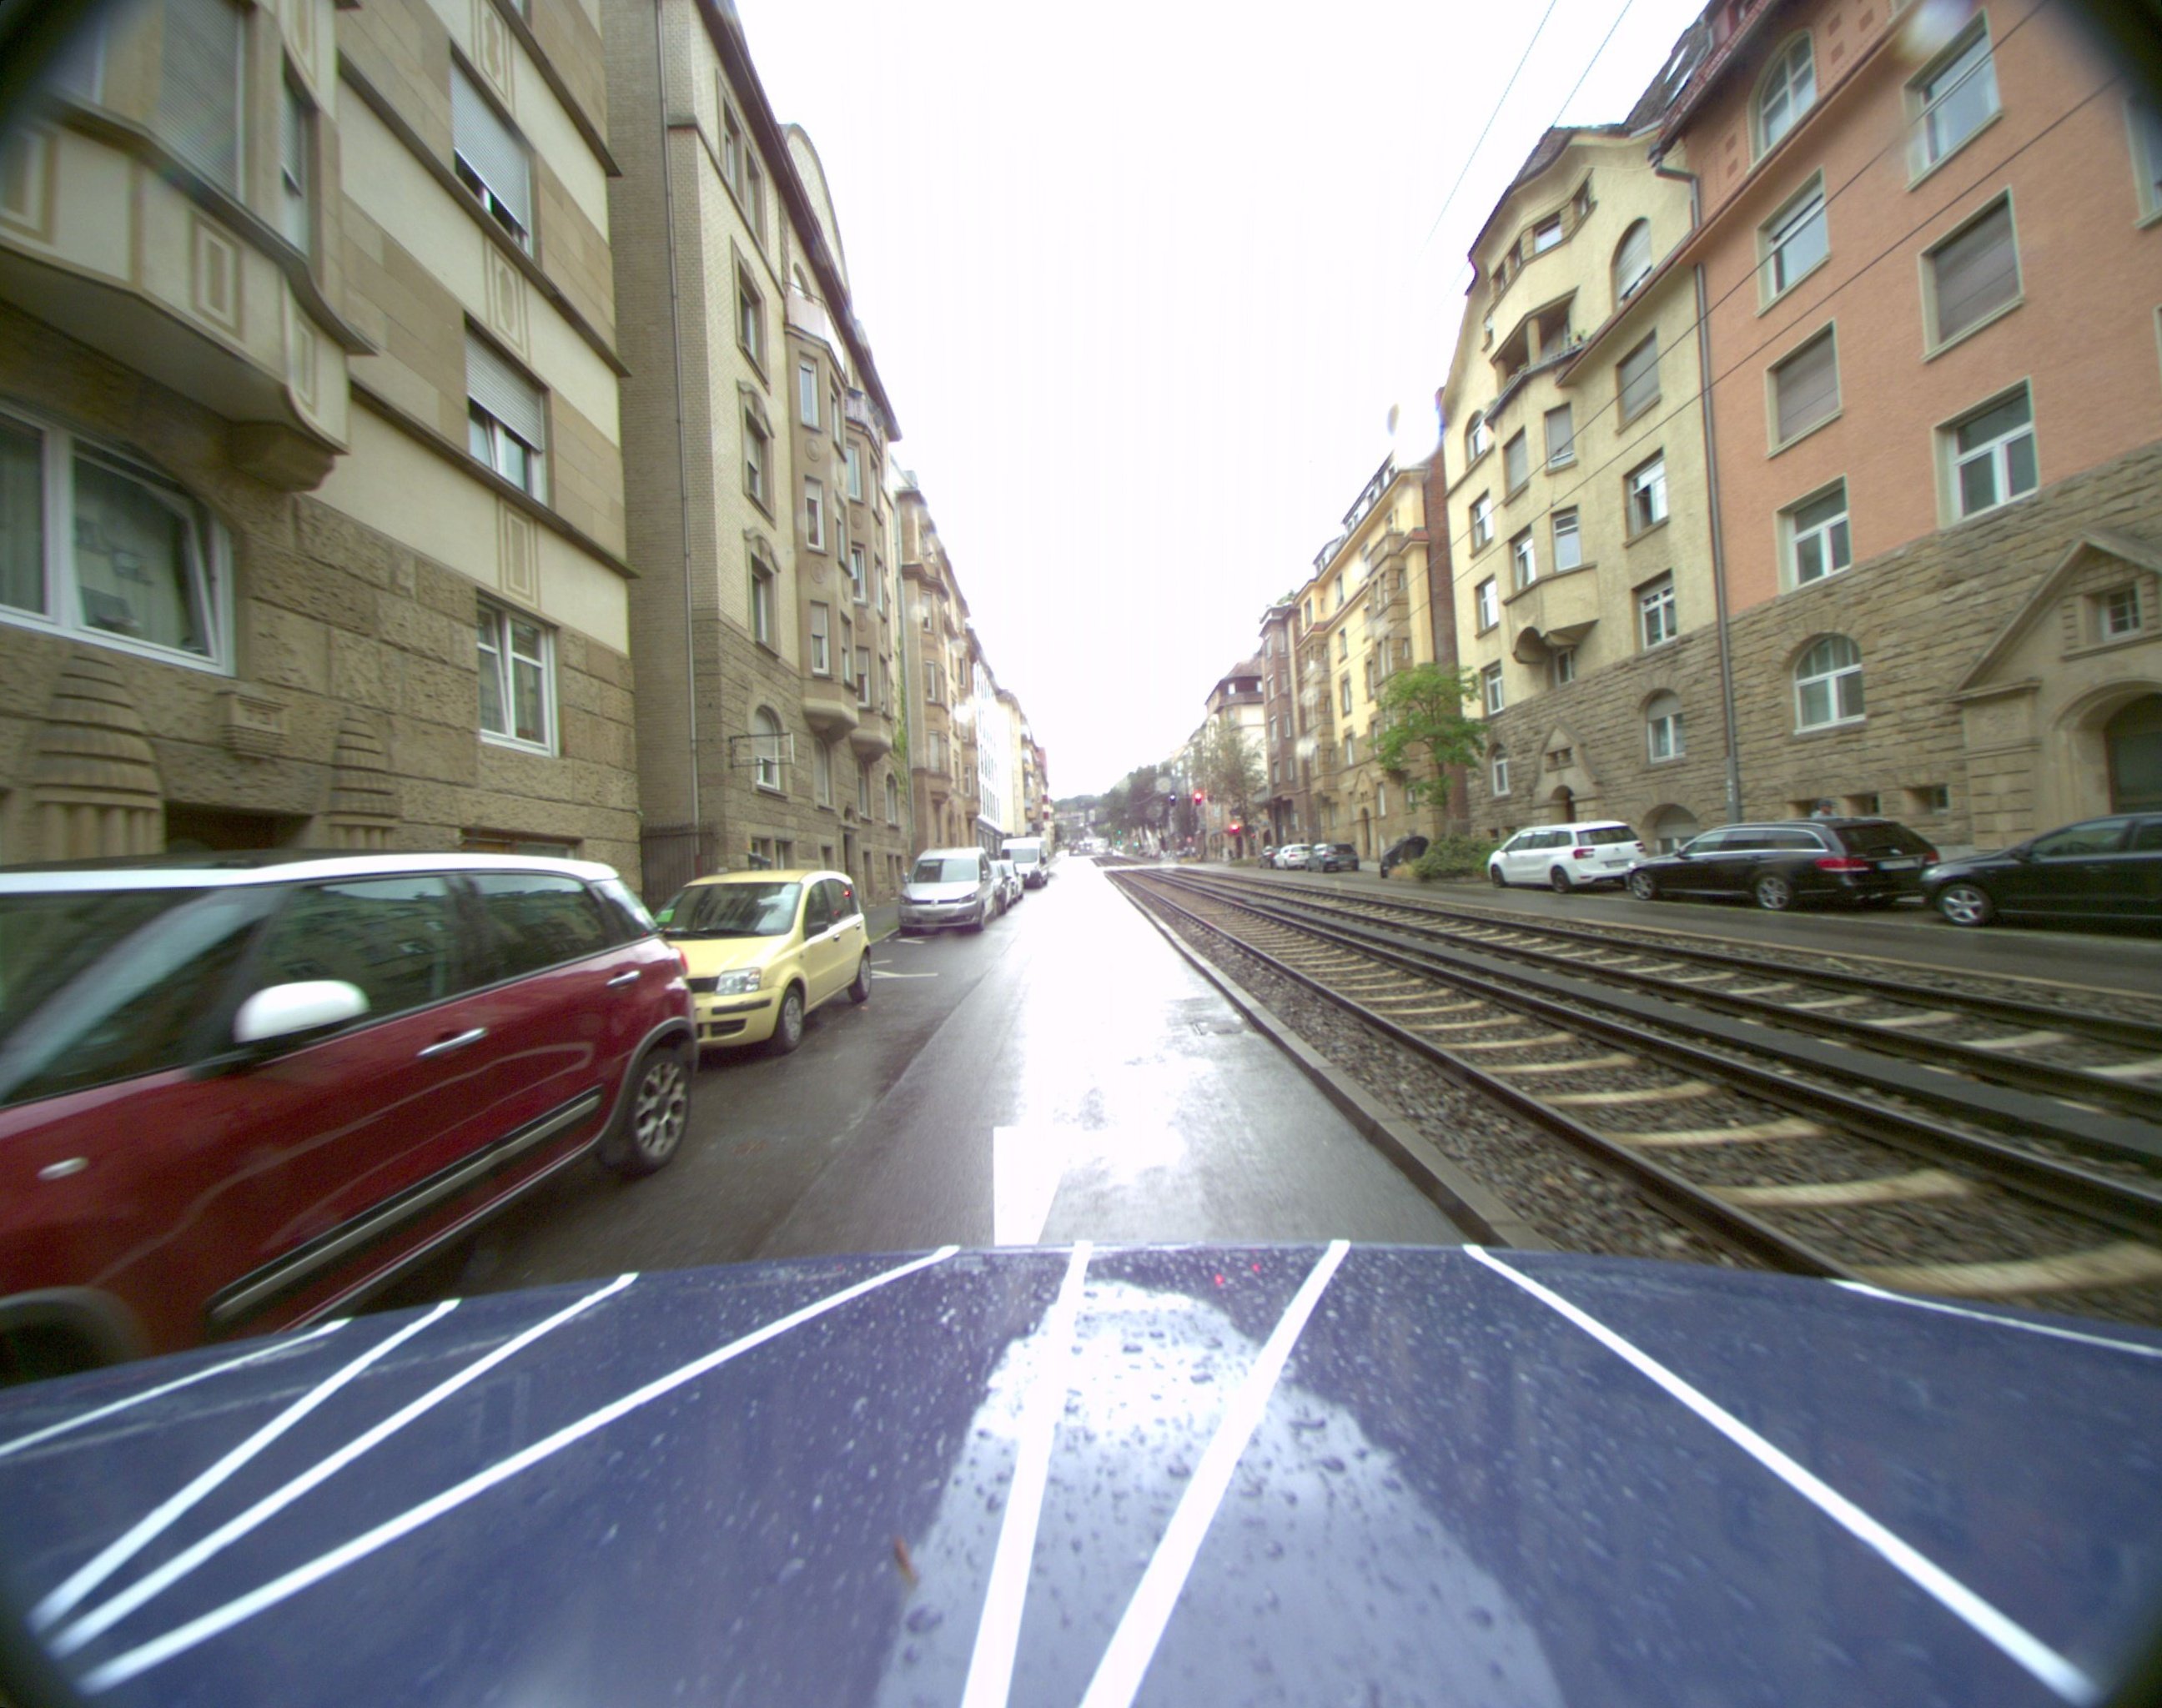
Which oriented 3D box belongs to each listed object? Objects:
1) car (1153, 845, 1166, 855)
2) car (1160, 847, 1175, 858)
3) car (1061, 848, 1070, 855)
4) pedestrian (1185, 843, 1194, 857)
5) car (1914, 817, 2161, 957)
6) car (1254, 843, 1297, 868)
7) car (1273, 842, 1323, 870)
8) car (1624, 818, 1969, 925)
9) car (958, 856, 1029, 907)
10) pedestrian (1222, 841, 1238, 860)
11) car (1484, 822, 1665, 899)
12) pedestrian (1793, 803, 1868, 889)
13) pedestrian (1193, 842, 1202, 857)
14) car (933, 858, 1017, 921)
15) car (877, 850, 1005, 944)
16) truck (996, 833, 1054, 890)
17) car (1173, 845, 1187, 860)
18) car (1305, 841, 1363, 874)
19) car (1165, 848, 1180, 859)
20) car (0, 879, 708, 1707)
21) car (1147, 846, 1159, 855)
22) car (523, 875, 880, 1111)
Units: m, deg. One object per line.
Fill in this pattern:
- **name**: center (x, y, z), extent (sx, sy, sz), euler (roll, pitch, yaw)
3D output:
- **car**: center (12.912, -0.635, 125.048), extent (1.657, 1.589, 3.775), euler (-3, 0, 1)
- **car**: center (12.934, -0.278, 113.578), extent (1.771, 1.507, 3.845), euler (-3, 0, 1)
- **car**: center (-3.998, -0.633, 192.671), extent (1.998, 1.838, 4.000), euler (-3, 0, 1)
- **pedestrian**: center (15.086, -0.591, 105.762), extent (1.056, 1.946, 1.163), euler (-3, 1, 2)
- **car**: center (12.516, 0.321, 8.679), extent (1.935, 1.488, 3.642), euler (-2, 1, -2)
- **car**: center (12.499, 0.072, 48.961), extent (1.771, 1.433, 3.845), euler (-3, 0, 1)
- **car**: center (12.485, 0.124, 43.866), extent (1.771, 1.433, 4.031), euler (-3, 0, 2)
- **car**: center (12.282, 0.253, 13.597), extent (1.847, 1.486, 4.601), euler (-3, 0, 1)
- **car**: center (-2.952, 0.890, 26.540), extent (1.891, 1.521, 3.929), euler (-3, 0, 1)
- **pedestrian**: center (16.039, -0.329, 81.688), extent (1.058, 1.946, 1.160), euler (-4, 1, -32)
- **car**: center (12.268, 0.141, 19.259), extent (1.867, 1.646, 4.146), euler (-3, 0, 1)
- **pedestrian**: center (14.860, -0.155, 15.084), extent (0.701, 1.633, 0.765), euler (-2, 1, 1)
- **pedestrian**: center (16.256, -0.633, 105.754), extent (1.056, 1.946, 1.163), euler (-3, 1, 2)
- **car**: center (-2.966, 0.948, 22.040), extent (1.999, 1.521, 3.999), euler (-3, 0, -3)
- **car**: center (-3.016, 0.858, 17.423), extent (1.968, 1.792, 4.459), euler (-3, 0, 1)
- **truck**: center (-2.714, 0.351, 38.169), extent (2.235, 2.521, 6.143), euler (-3, 0, 1)
- **car**: center (12.725, -0.235, 97.758), extent (1.583, 1.669, 3.790), euler (-3, 2, 7)
- **car**: center (12.513, 0.135, 37.827), extent (1.678, 1.433, 3.845), euler (-4, 1, 3)
- **car**: center (12.632, -0.089, 104.596), extent (1.583, 1.303, 3.845), euler (-3, 0, 1)
- **car**: center (-3.050, 0.987, 2.316), extent (1.807, 1.590, 3.999), euler (-3, 0, -1)
- **car**: center (12.513, -0.634, 131.917), extent (1.632, 1.537, 3.801), euler (-3, 0, 1)
- **car**: center (-3.202, 1.050, 7.265), extent (1.580, 1.520, 3.578), euler (-3, 0, -1)
